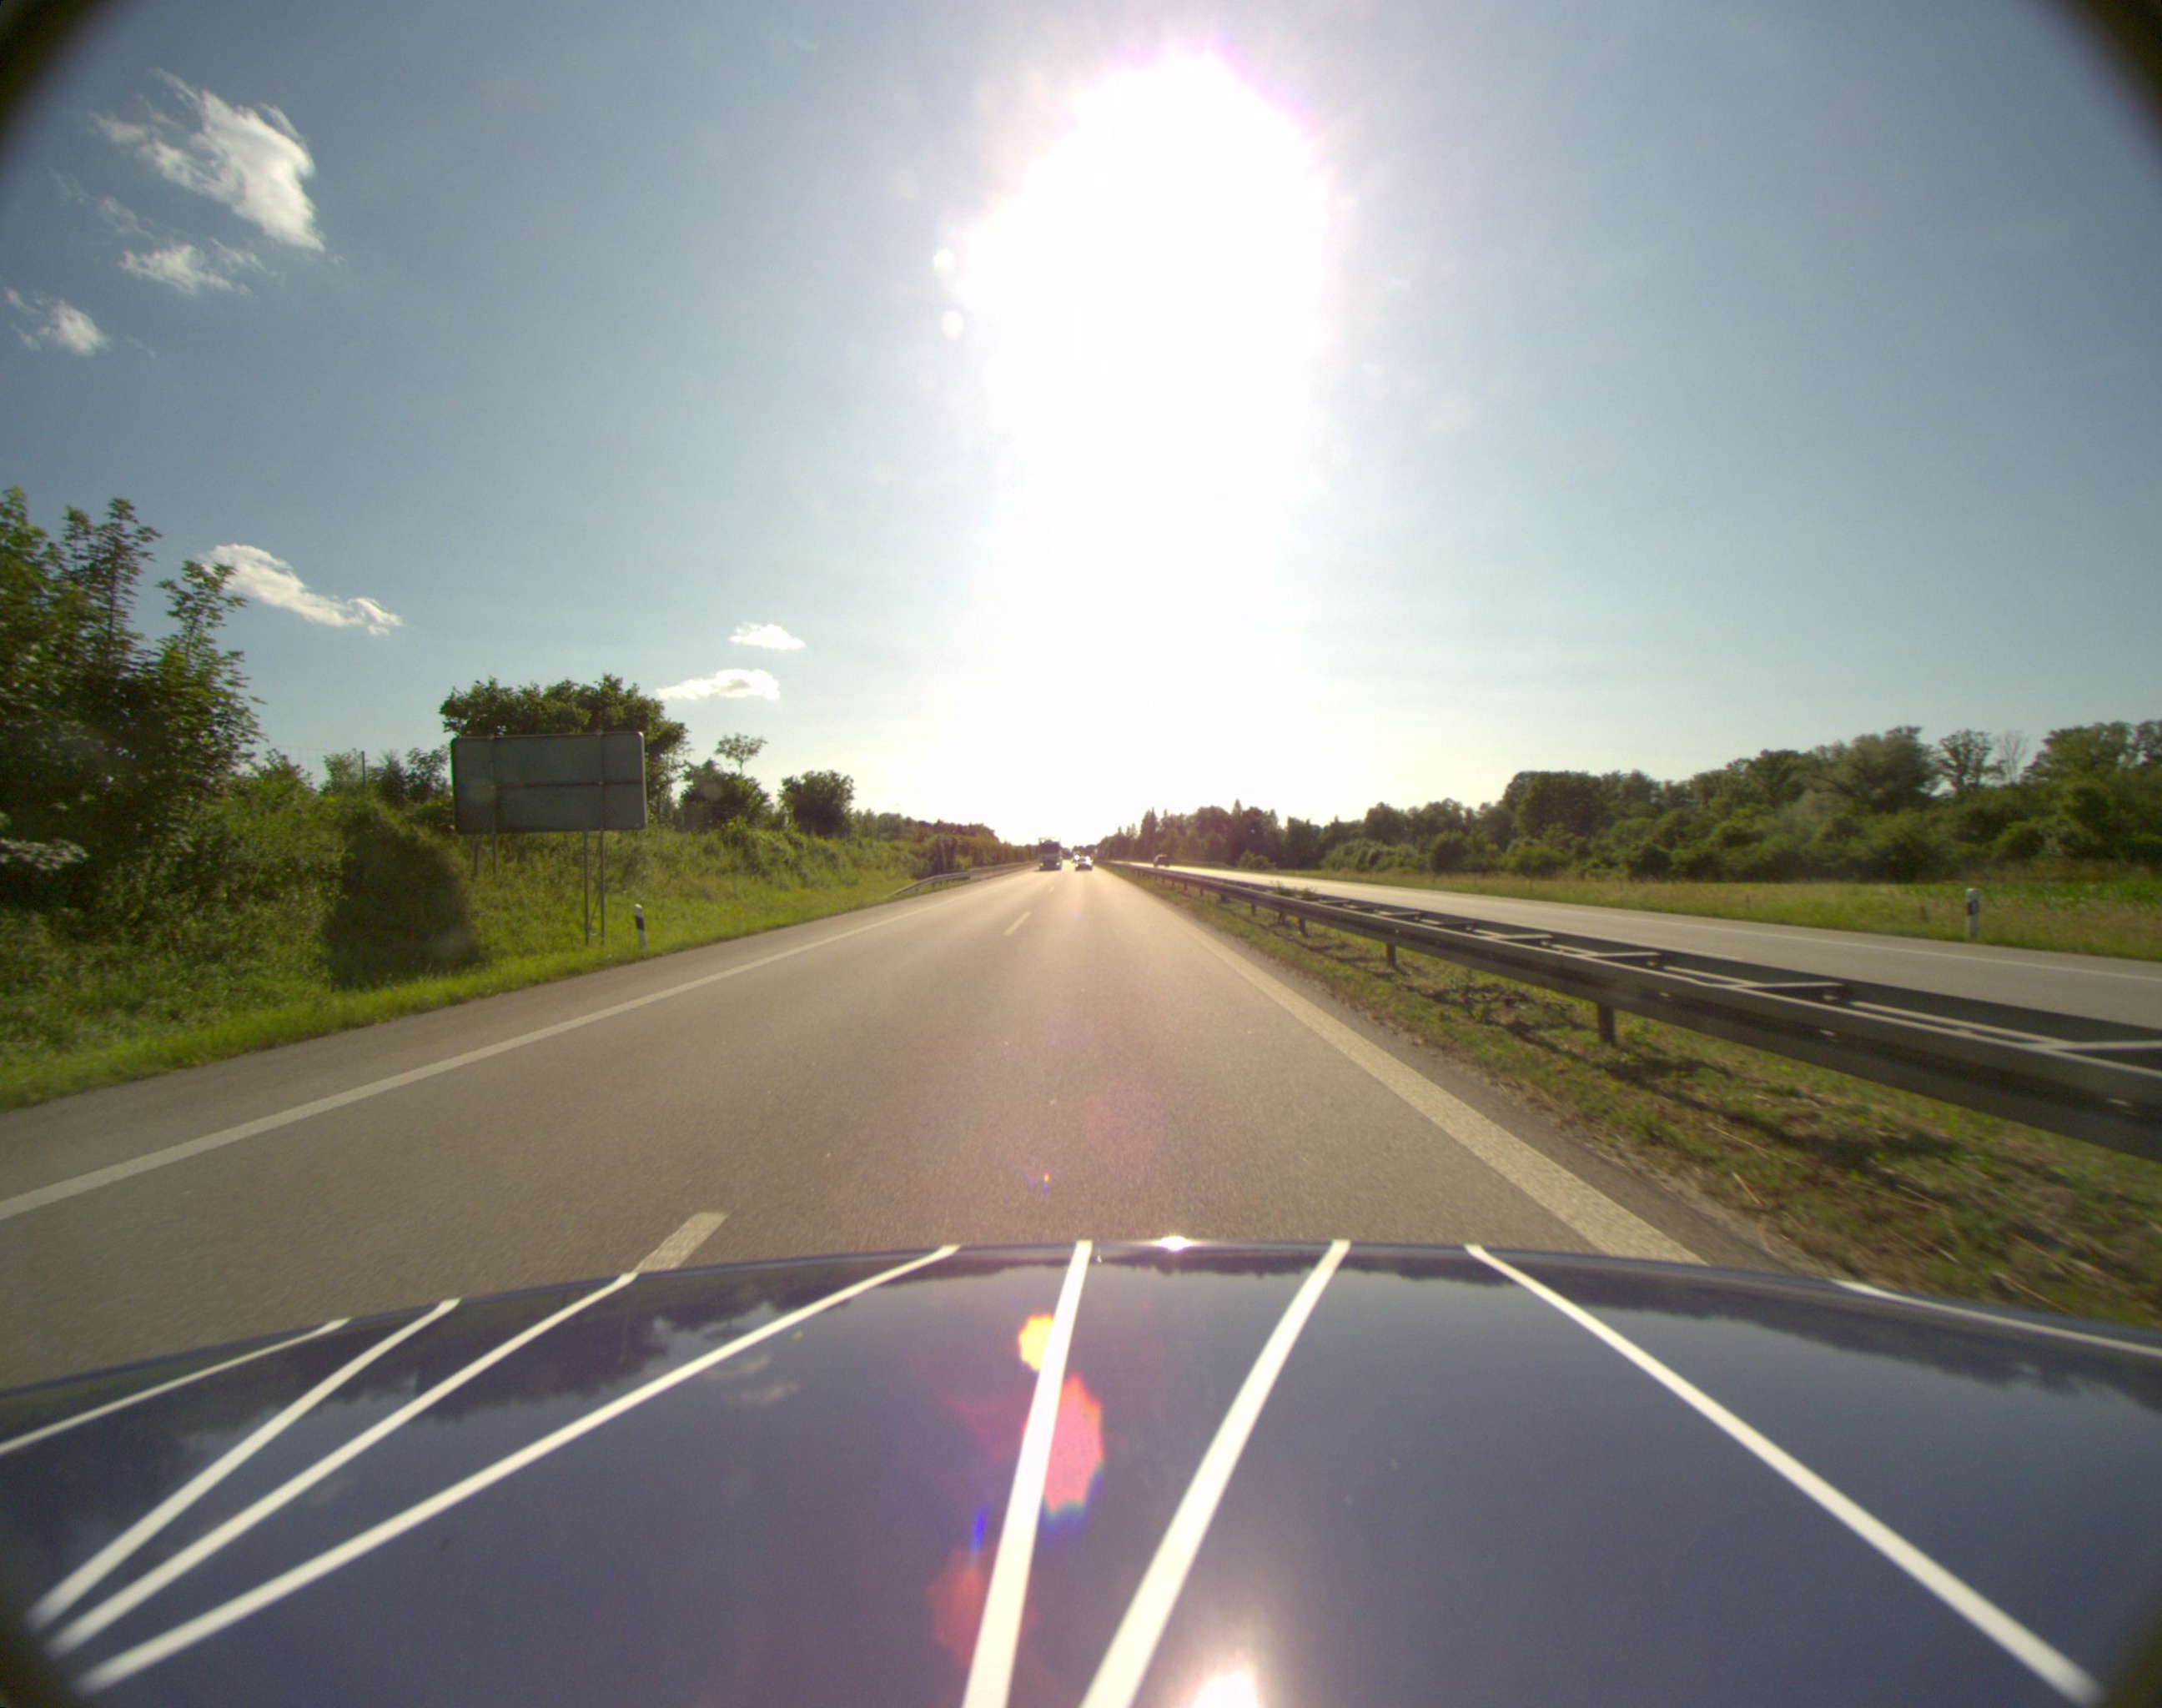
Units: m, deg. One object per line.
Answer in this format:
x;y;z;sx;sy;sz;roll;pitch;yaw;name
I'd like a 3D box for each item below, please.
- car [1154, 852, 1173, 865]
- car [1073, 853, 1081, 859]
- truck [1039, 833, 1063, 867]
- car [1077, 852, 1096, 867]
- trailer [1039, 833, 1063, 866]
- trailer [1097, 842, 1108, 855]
11.234;0.590;103.515;1.998;1.652;4.775;1;0;0;car
-0.911;0.475;181.253;1.742;1.514;3.998;-1;1;-3;car
-3.654;-0.479;91.474;2.848;3.943;7.042;0;0;-3;truck
0.549;0.618;80.736;1.871;1.514;4.283;1;0;-1;car
-3.910;-0.560;98.216;2.826;3.943;14.156;0;0;-2;trailer
7.273;-1.778;256.303;3.159;4.100;13.439;1;0;-1;trailer
